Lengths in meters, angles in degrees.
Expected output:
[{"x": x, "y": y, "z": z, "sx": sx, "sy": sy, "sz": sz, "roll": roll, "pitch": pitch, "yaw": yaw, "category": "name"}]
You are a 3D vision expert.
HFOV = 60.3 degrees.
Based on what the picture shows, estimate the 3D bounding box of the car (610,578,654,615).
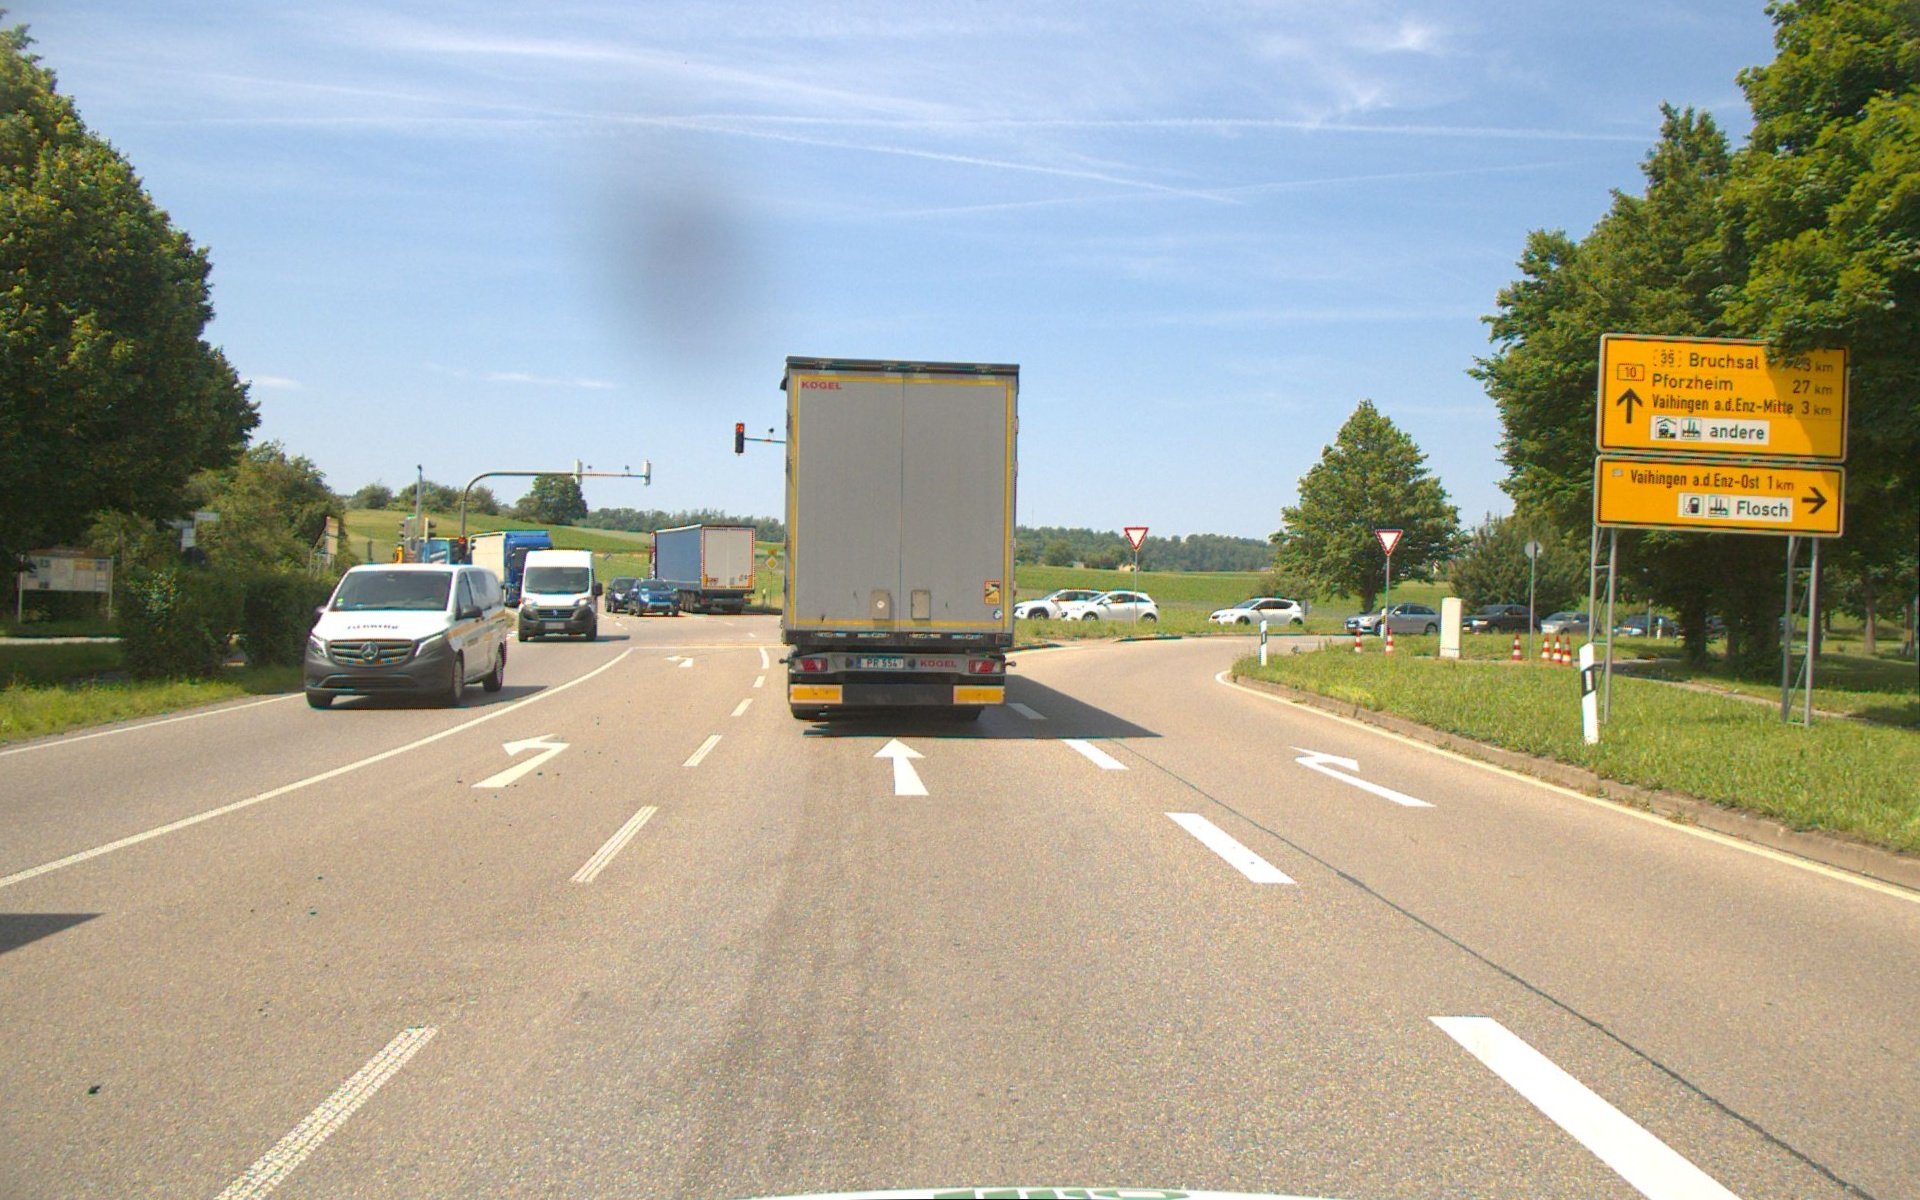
[{"x": -15.733, "y": -0.180, "z": 79.246, "sx": 1.743, "sy": 1.687, "sz": 3.982, "roll": 0, "pitch": 0, "yaw": -17, "category": "car"}]

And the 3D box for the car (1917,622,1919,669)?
[{"x": 30.225, "y": 1.408, "z": 50.485, "sx": 1.722, "sy": 1.387, "sz": 4.311, "roll": 0, "pitch": -1, "yaw": 30, "category": "car"}]

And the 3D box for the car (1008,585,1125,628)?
[{"x": 4.469, "y": 0.286, "z": 69.569, "sx": 4.542, "sy": 1.636, "sz": 1.993, "roll": 2, "pitch": -2, "yaw": -10, "category": "car"}]

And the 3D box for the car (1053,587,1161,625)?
[{"x": 5.823, "y": 0.240, "z": 65.679, "sx": 3.891, "sy": 1.444, "sz": 1.822, "roll": 0, "pitch": -1, "yaw": -13, "category": "car"}]

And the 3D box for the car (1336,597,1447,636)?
[{"x": 18.392, "y": 0.720, "z": 70.477, "sx": 4.490, "sy": 1.536, "sz": 1.786, "roll": 2, "pitch": -2, "yaw": -26, "category": "car"}]

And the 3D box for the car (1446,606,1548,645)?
[{"x": 23.776, "y": 1.145, "z": 73.240, "sx": 4.499, "sy": 1.536, "sz": 1.782, "roll": 3, "pitch": -2, "yaw": -31, "category": "car"}]

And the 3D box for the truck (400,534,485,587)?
[{"x": -46.810, "y": -3.451, "z": 149.232, "sx": 3.499, "sy": 4.315, "sz": 13.243, "roll": 2, "pitch": -1, "yaw": -34, "category": "truck"}]

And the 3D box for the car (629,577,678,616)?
[{"x": -13.627, "y": -0.175, "z": 73.414, "sx": 1.743, "sy": 1.687, "sz": 3.981, "roll": 0, "pitch": 0, "yaw": -17, "category": "car"}]

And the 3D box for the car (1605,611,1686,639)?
[{"x": 33.755, "y": 1.228, "z": 81.391, "sx": 4.518, "sy": 1.295, "sz": 1.775, "roll": 2, "pitch": -1, "yaw": -40, "category": "car"}]

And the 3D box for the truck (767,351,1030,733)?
[{"x": -1.120, "y": -0.611, "z": 22.363, "sx": 2.754, "sy": 4.015, "sz": 9.578, "roll": 1, "pitch": 0, "yaw": -6, "category": "truck"}]

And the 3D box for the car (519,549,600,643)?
[{"x": -11.265, "y": -0.135, "z": 46.839, "sx": 2.015, "sy": 2.495, "sz": 5.253, "roll": -1, "pitch": 1, "yaw": -12, "category": "car"}]

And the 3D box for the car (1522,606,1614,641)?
[{"x": 28.394, "y": 1.091, "z": 77.178, "sx": 4.508, "sy": 1.536, "sz": 1.779, "roll": 2, "pitch": -1, "yaw": -35, "category": "car"}]

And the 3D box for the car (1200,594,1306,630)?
[{"x": 12.070, "y": 0.521, "z": 68.116, "sx": 4.040, "sy": 1.444, "sz": 1.787, "roll": 1, "pitch": -1, "yaw": -25, "category": "car"}]

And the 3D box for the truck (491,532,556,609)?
[{"x": -24.025, "y": -1.628, "z": 90.857, "sx": 2.533, "sy": 4.100, "sz": 6.512, "roll": 0, "pitch": 1, "yaw": -24, "category": "truck"}]

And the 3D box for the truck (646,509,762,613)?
[{"x": -13.067, "y": -1.842, "z": 82.884, "sx": 2.916, "sy": 4.664, "sz": 16.225, "roll": 0, "pitch": 1, "yaw": -19, "category": "truck"}]

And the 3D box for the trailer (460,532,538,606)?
[{"x": -27.808, "y": -1.866, "z": 99.301, "sx": 2.533, "sy": 4.100, "sz": 13.490, "roll": 0, "pitch": 1, "yaw": -24, "category": "trailer"}]

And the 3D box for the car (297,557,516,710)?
[{"x": -7.570, "y": 0.389, "z": 23.146, "sx": 1.837, "sy": 1.897, "sz": 5.134, "roll": 0, "pitch": 0, "yaw": -6, "category": "car"}]
